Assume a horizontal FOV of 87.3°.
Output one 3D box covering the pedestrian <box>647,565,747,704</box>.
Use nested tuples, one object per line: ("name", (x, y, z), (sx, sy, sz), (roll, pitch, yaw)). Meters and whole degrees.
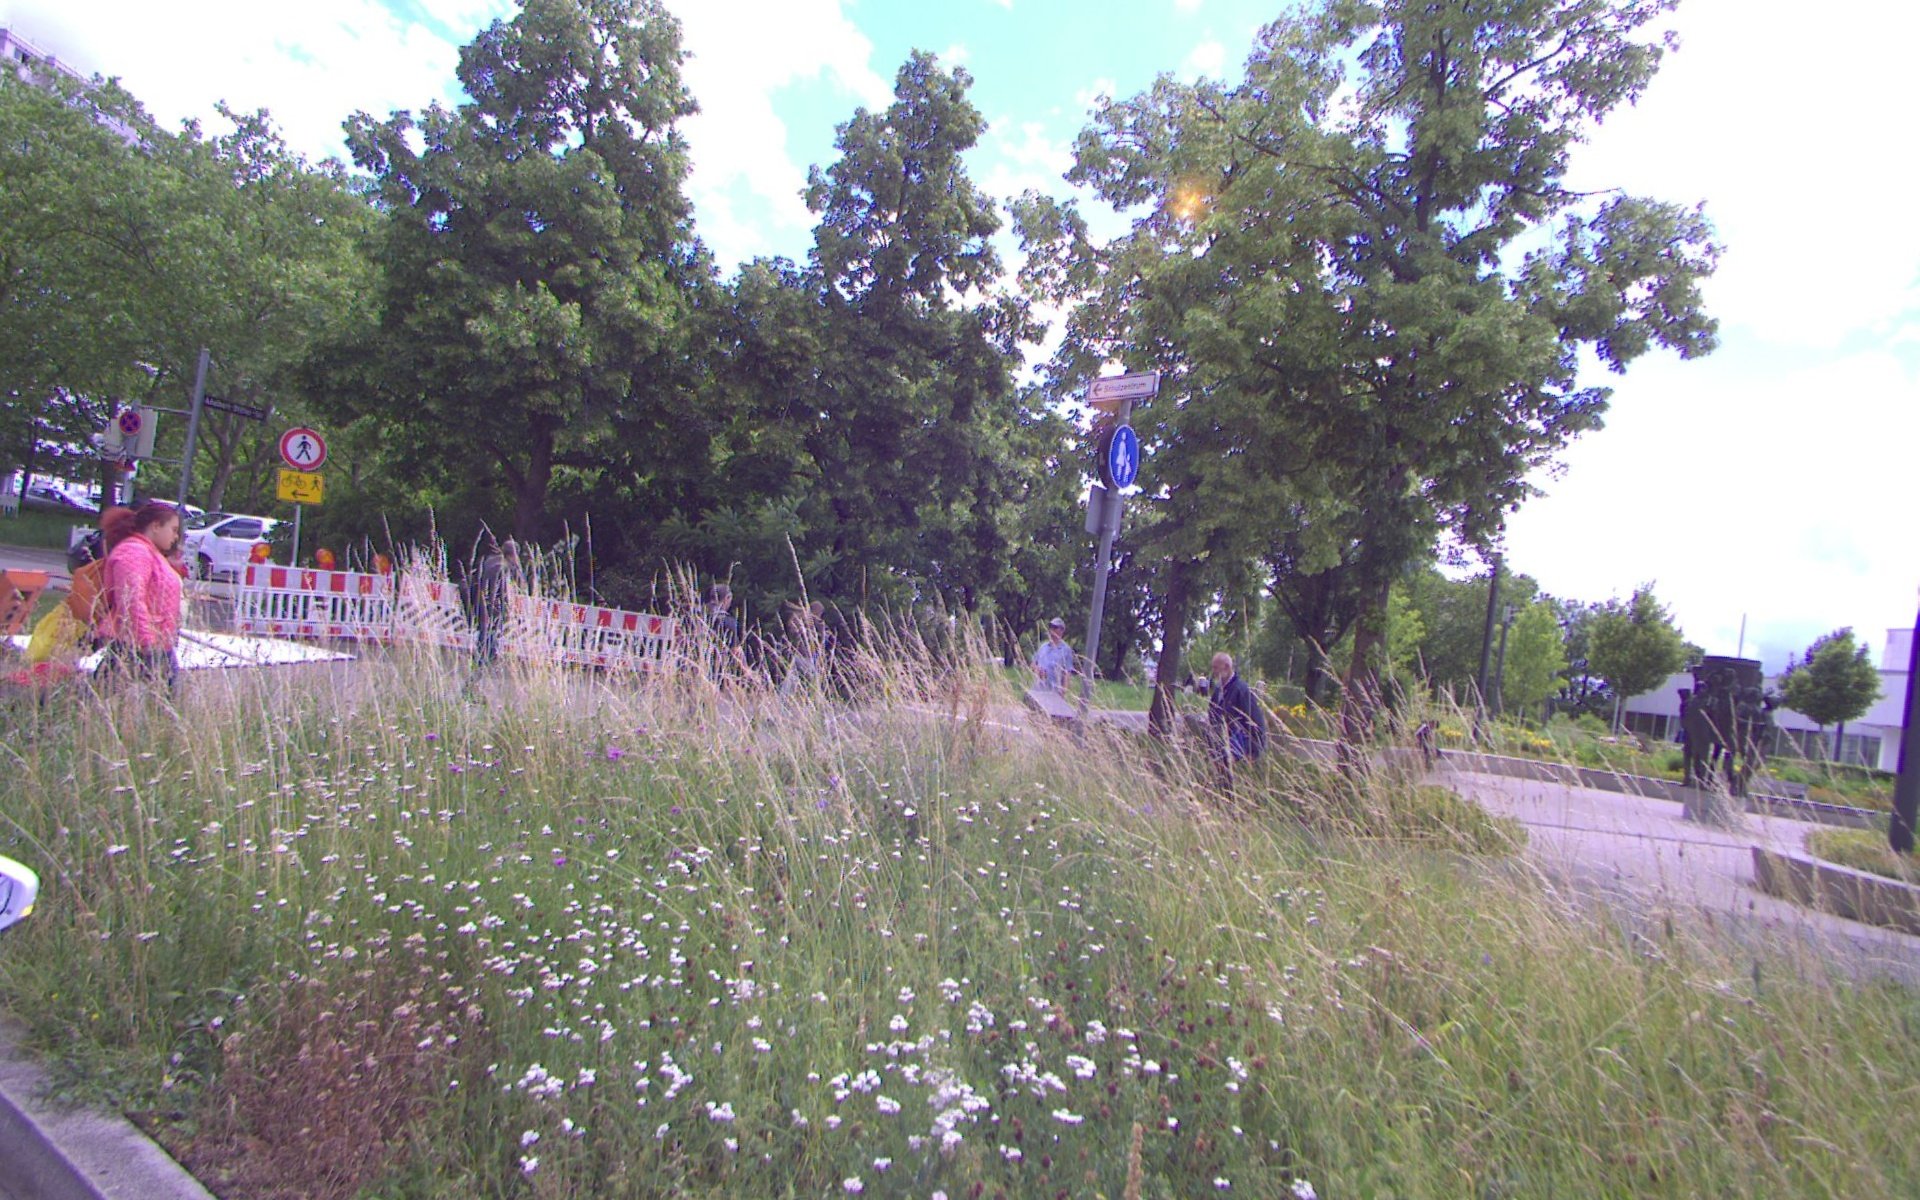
("pedestrian", (-3.605, 0.485, 13.785), (0.815, 1.763, 0.782), (7, 0, 35))

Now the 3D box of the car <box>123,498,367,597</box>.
("car", (-19.724, -1.383, 28.047), (1.915, 1.895, 5.090), (7, -2, 28))

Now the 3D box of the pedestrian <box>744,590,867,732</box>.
("pedestrian", (-1.983, 0.796, 12.977), (0.915, 1.667, 1.021), (7, -1, 37))

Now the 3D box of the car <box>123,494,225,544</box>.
("car", (-44.243, -4.527, 56.692), (3.926, 2.037, 2.001), (8, -1, 0))

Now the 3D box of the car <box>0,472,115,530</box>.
("car", (-43.696, -4.777, 48.572), (3.926, 2.037, 2.001), (8, -1, 0))

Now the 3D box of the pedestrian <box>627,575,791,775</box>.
("pedestrian", (-2.326, 0.690, 9.373), (0.866, 1.667, 0.960), (7, -1, 32))

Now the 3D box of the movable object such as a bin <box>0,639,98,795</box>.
("movable object such as a bin", (-4.935, 0.557, 4.956), (0.765, 0.669, 0.797), (7, -1, 32))

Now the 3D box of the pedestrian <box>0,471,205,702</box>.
("pedestrian", (-6.715, -0.089, 7.848), (0.914, 1.626, 0.914), (7, -1, 33))

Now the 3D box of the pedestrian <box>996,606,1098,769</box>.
("pedestrian", (1.076, 1.076, 12.373), (0.760, 1.862, 0.763), (7, -1, 35))

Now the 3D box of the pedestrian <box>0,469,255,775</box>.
("pedestrian", (-4.819, 0.131, 5.786), (0.734, 1.573, 0.882), (7, -1, 32))

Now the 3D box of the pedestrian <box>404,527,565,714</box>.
("pedestrian", (-4.979, 0.235, 10.571), (0.914, 1.794, 1.004), (7, -1, 32))

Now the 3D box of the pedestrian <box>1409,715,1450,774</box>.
("pedestrian", (10.847, 3.330, 23.231), (0.623, 1.236, 0.618), (7, -1, 36))

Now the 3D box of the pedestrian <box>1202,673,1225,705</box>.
("pedestrian", (14.490, 5.082, 57.460), (0.879, 1.732, 0.817), (8, -1, 30))

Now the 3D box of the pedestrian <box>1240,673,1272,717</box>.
("pedestrian", (14.884, 4.756, 50.506), (1.137, 2.037, 0.817), (8, 0, 30))

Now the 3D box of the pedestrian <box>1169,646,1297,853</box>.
("pedestrian", (2.384, 1.281, 8.882), (0.750, 1.644, 0.773), (8, -1, 4))

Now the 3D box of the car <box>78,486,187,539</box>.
("car", (-43.789, -4.600, 53.288), (3.926, 2.037, 2.001), (8, -1, 0))

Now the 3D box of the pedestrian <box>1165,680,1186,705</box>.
("pedestrian", (15.671, 6.709, 73.066), (1.135, 1.571, 0.818), (8, -1, -2))

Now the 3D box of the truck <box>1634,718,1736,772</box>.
("truck", (37.315, 7.408, 51.906), (1.965, 2.037, 3.999), (8, -1, -4))
